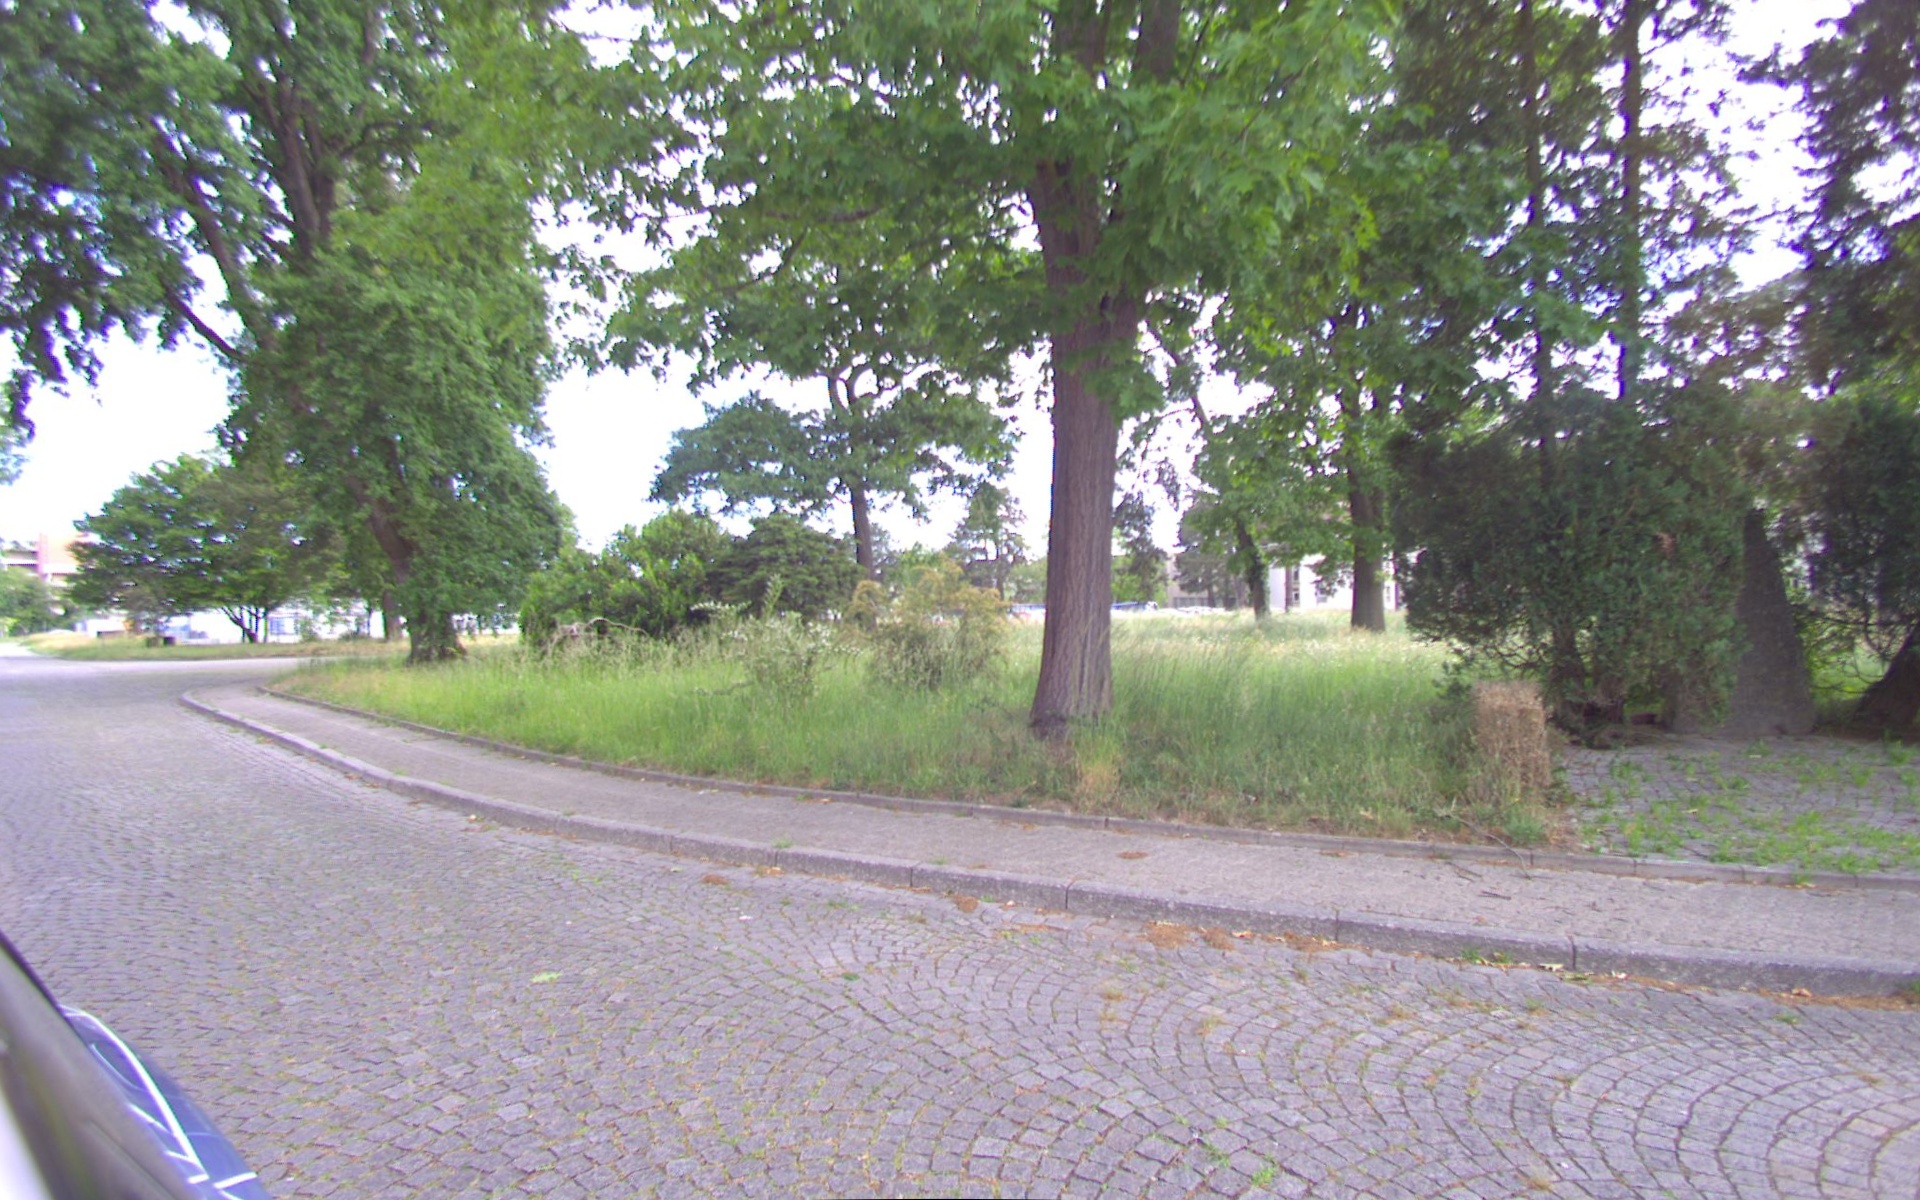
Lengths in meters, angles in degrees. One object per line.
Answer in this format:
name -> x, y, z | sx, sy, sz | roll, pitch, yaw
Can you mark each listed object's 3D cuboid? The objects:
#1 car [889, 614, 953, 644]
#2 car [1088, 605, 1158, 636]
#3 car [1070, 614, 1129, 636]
car -> -2.187, 1.623, 56.538 | 3.501, 1.493, 1.579 | -4, -3, 45
car -> 11.230, 1.426, 69.910 | 4.547, 1.916, 1.767 | -4, -3, 45
car -> 9.383, 1.699, 68.245 | 3.696, 1.349, 1.561 | -4, -3, 45
